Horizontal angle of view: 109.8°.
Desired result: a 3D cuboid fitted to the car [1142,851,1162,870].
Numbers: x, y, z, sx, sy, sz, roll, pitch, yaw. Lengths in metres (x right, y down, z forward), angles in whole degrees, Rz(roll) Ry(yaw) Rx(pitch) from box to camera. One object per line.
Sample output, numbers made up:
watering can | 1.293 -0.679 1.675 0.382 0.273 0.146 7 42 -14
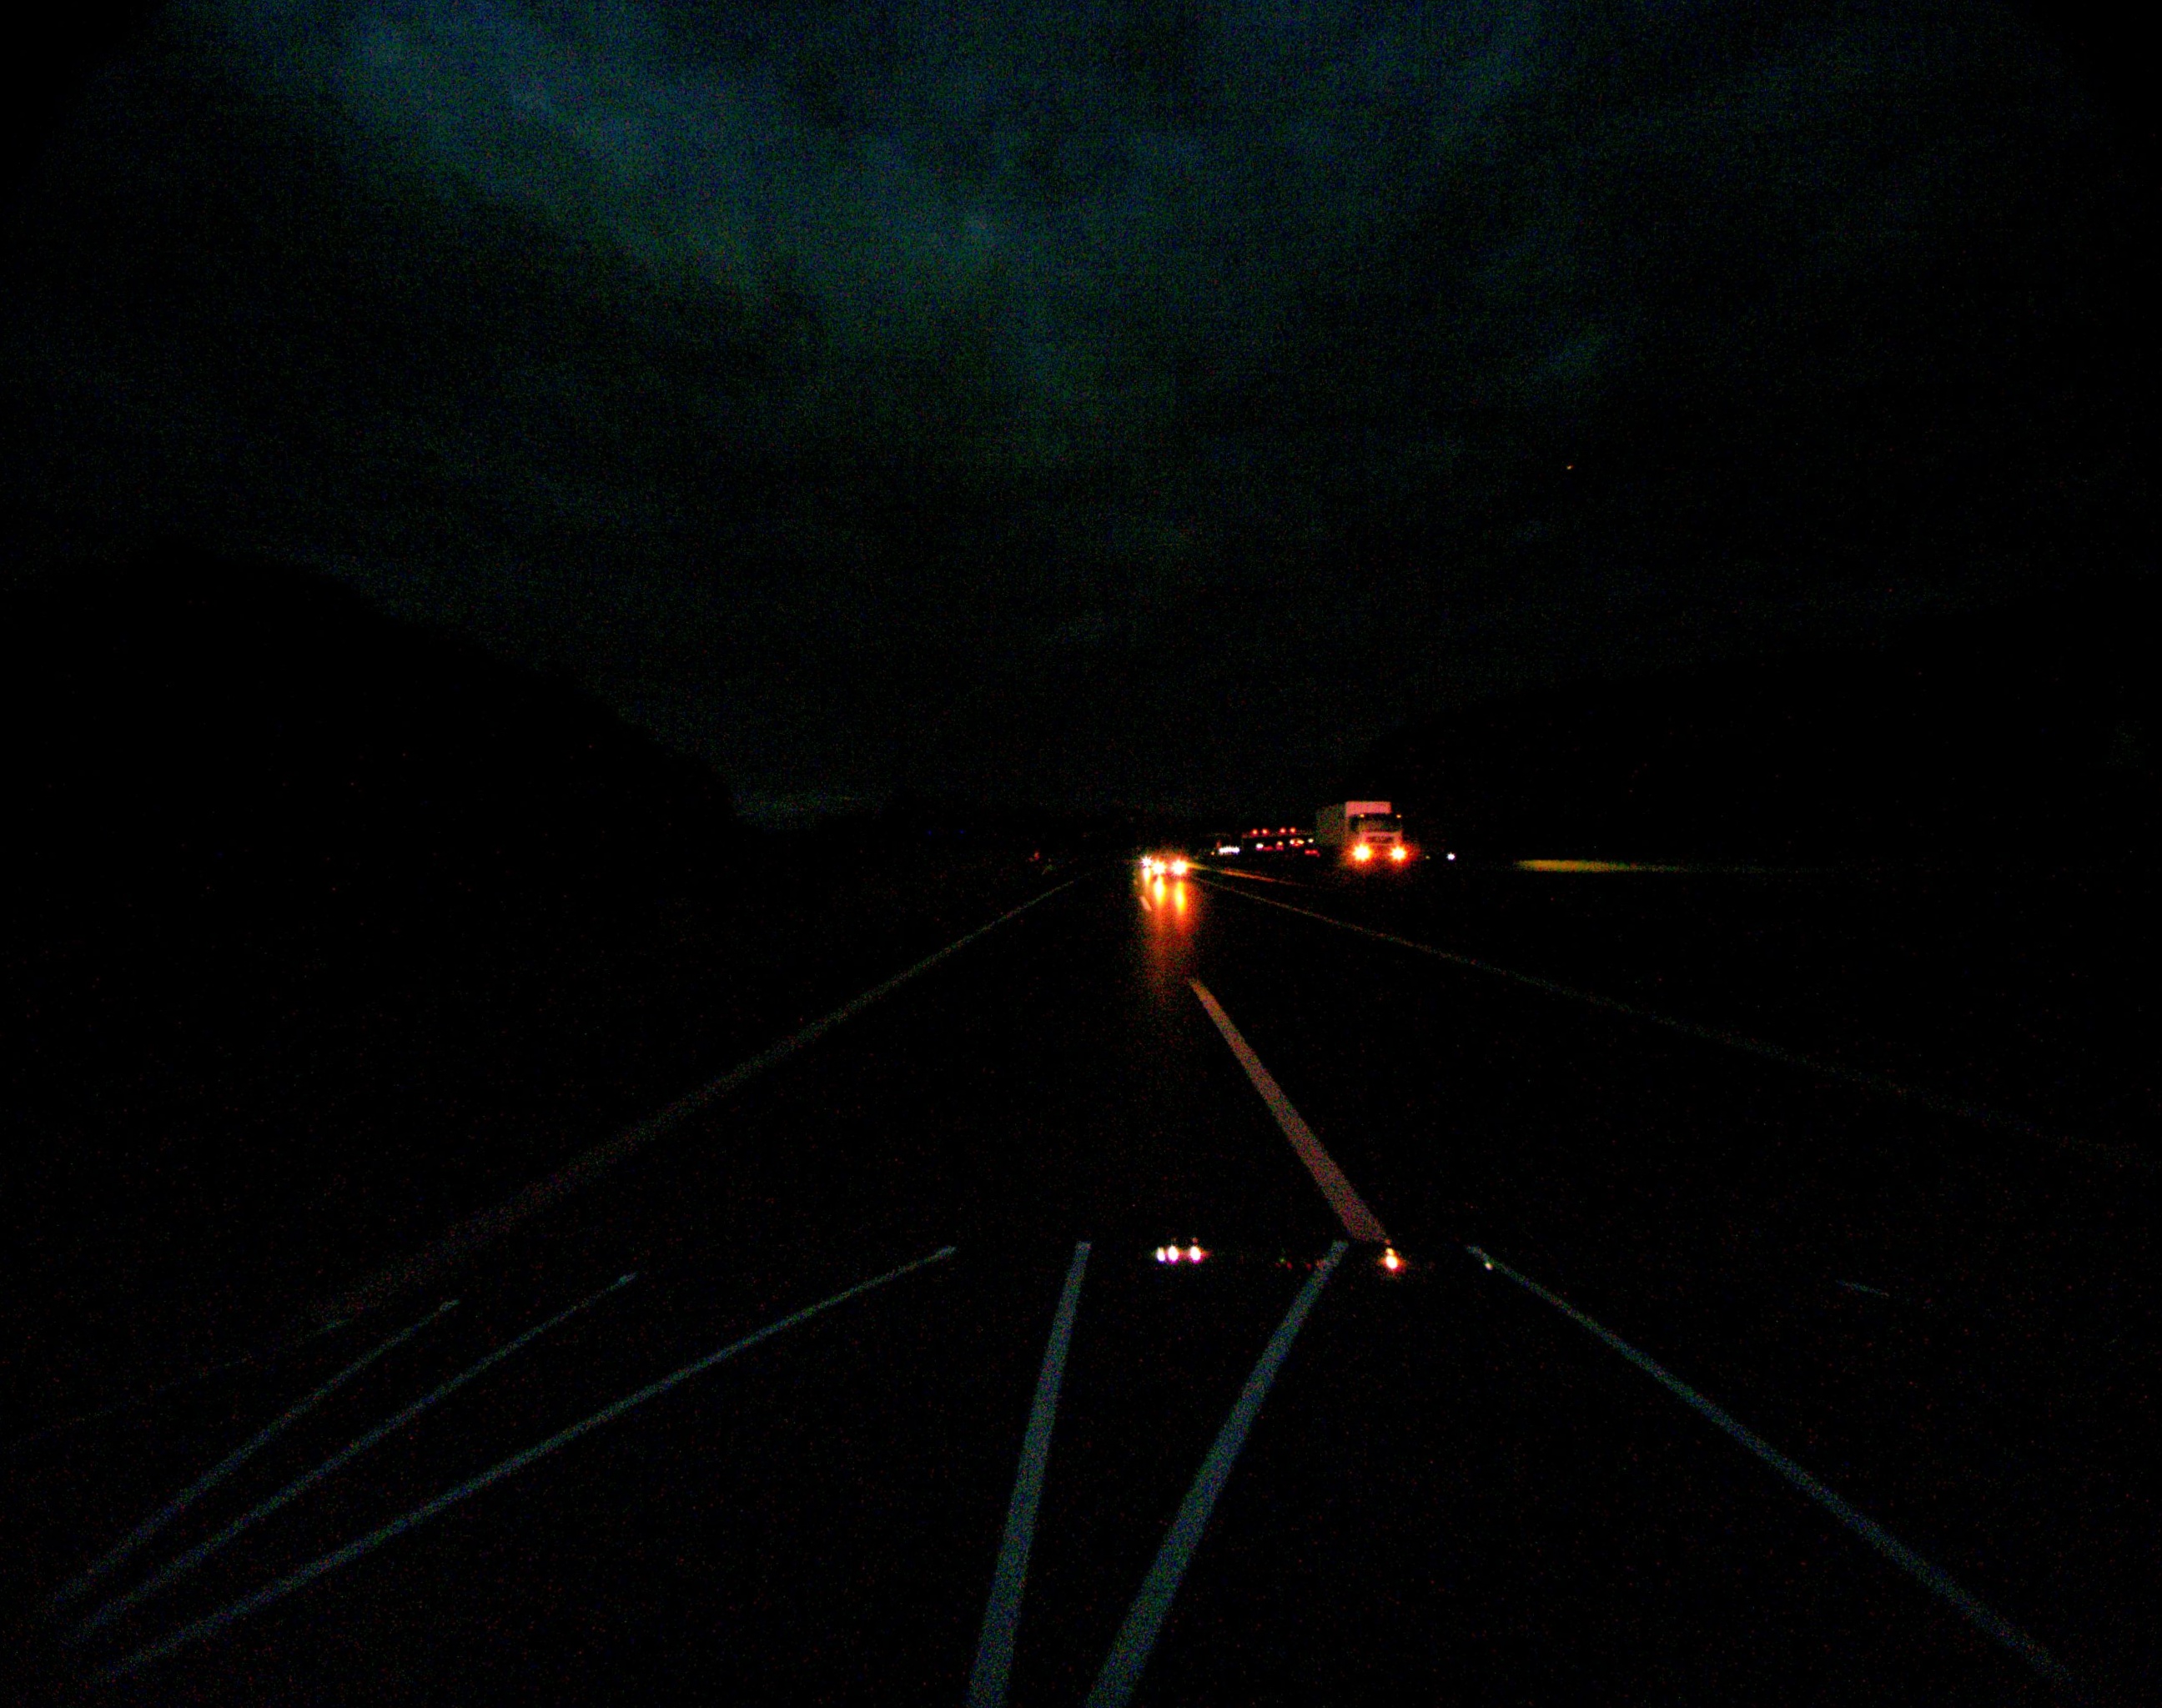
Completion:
car | 7.850 0.689 83.882 1.997 2.002 4.001 -2 1 6

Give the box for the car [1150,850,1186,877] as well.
car | 5.334 0.561 46.946 1.669 1.551 3.756 -2 0 0

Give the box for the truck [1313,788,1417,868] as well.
truck | 17.121 -1.477 46.652 3.045 4.276 9.892 -2 1 3

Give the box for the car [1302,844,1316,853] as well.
car | 43.187 -1.145 143.879 1.896 1.610 4.001 -2 1 6

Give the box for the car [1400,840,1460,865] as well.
car | 20.917 -0.089 45.756 1.758 1.336 4.000 -2 0 0
